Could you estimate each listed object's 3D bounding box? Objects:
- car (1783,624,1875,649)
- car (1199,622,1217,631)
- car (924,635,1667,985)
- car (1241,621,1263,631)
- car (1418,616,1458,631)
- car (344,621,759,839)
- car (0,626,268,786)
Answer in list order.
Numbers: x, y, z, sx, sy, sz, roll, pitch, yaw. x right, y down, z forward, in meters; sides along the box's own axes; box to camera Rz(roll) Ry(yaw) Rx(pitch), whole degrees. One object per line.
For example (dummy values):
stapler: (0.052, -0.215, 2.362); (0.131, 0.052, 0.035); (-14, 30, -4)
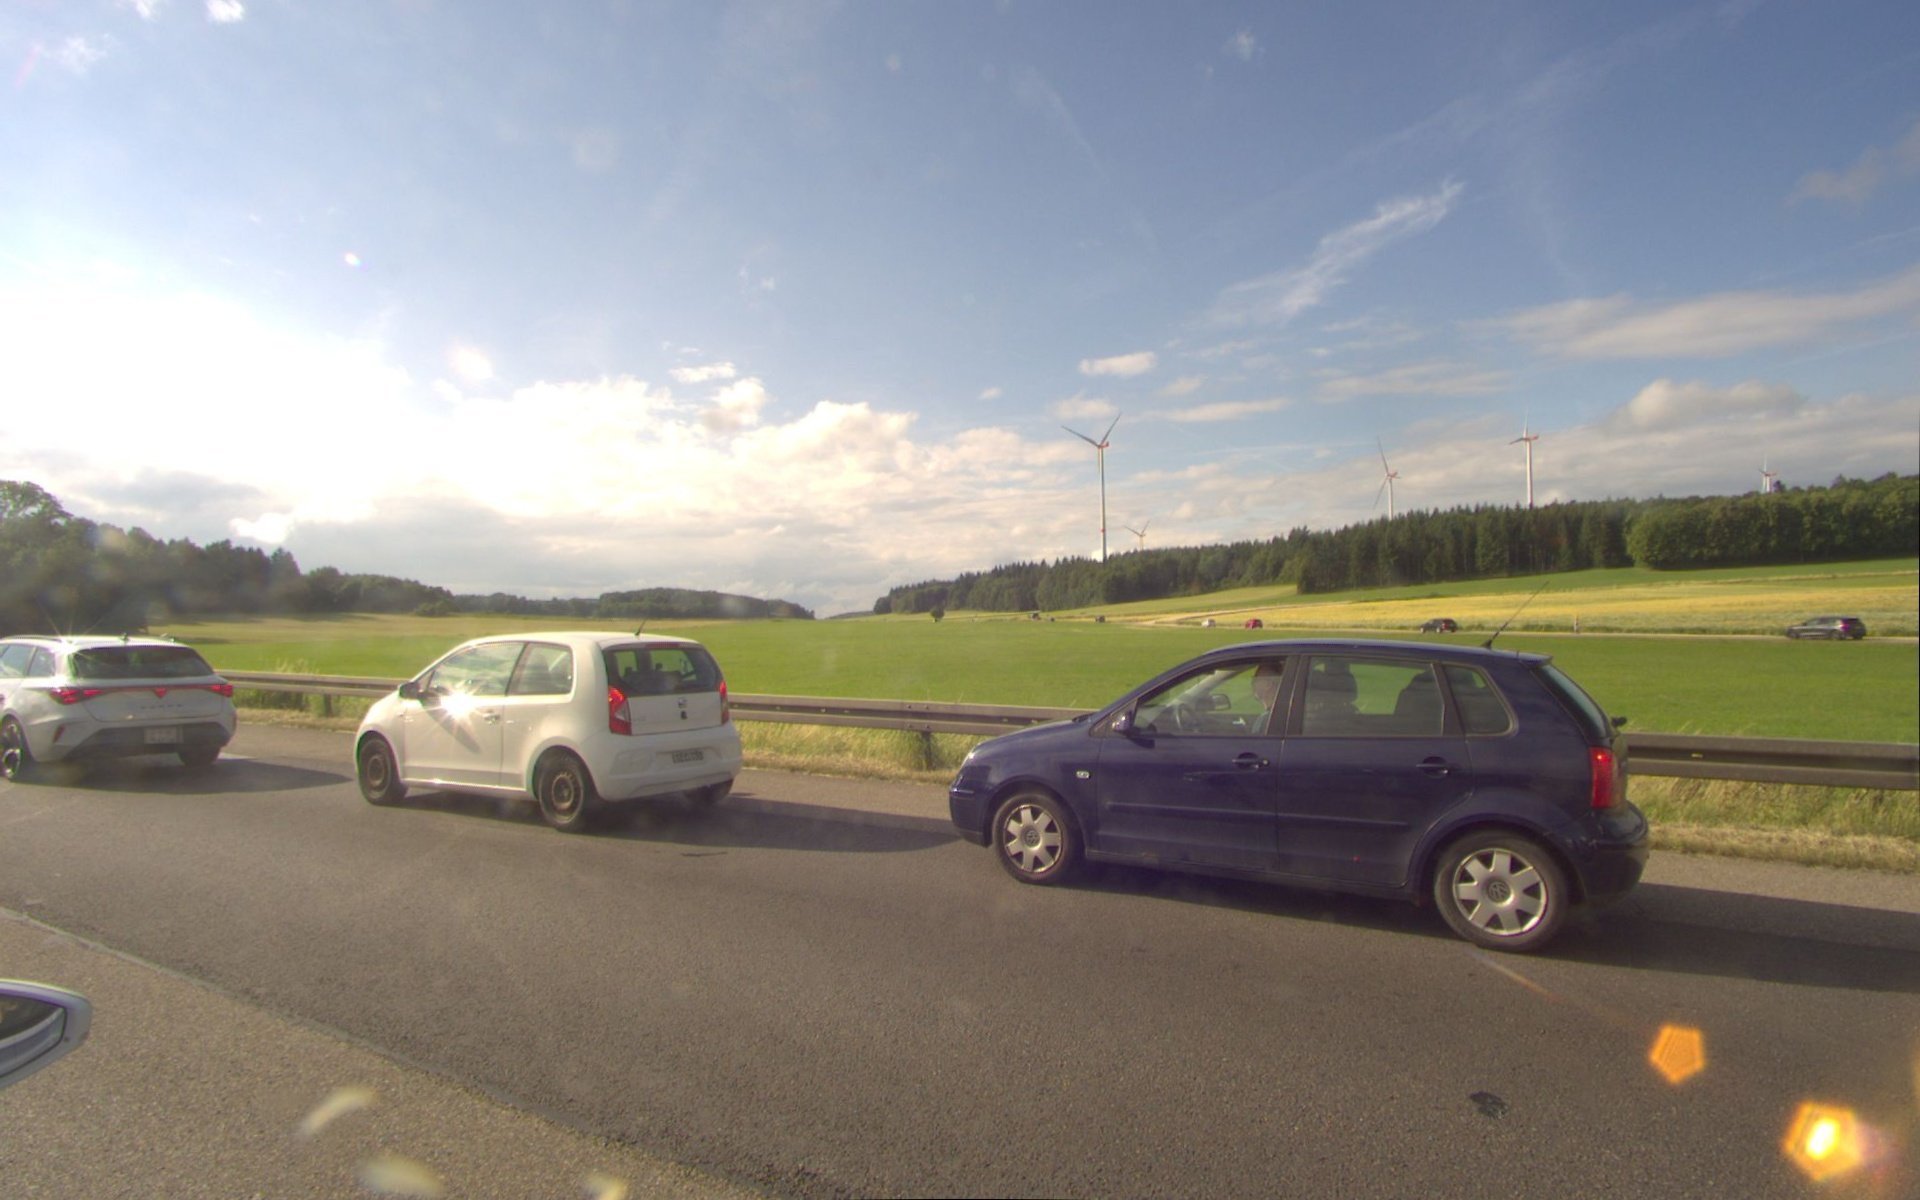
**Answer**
car: (54.128, 2.297, 62.501); (1.803, 1.505, 4.221); (0, -2, -6)
car: (43.740, 4.621, 176.542); (1.803, 1.505, 4.288); (0, -2, -6)
car: (1.804, 0.947, 5.917); (3.719, 1.464, 1.708); (-1, -2, 31)
car: (44.739, 3.977, 153.470); (1.803, 1.505, 4.221); (0, -2, -6)
car: (48.669, 2.388, 102.035); (1.803, 1.505, 4.221); (0, -2, -6)
car: (-3.507, 0.951, 8.535); (3.326, 1.514, 1.547); (0, -1, 29)
car: (-9.474, 1.031, 10.862); (4.084, 1.464, 1.619); (-1, -2, 29)
